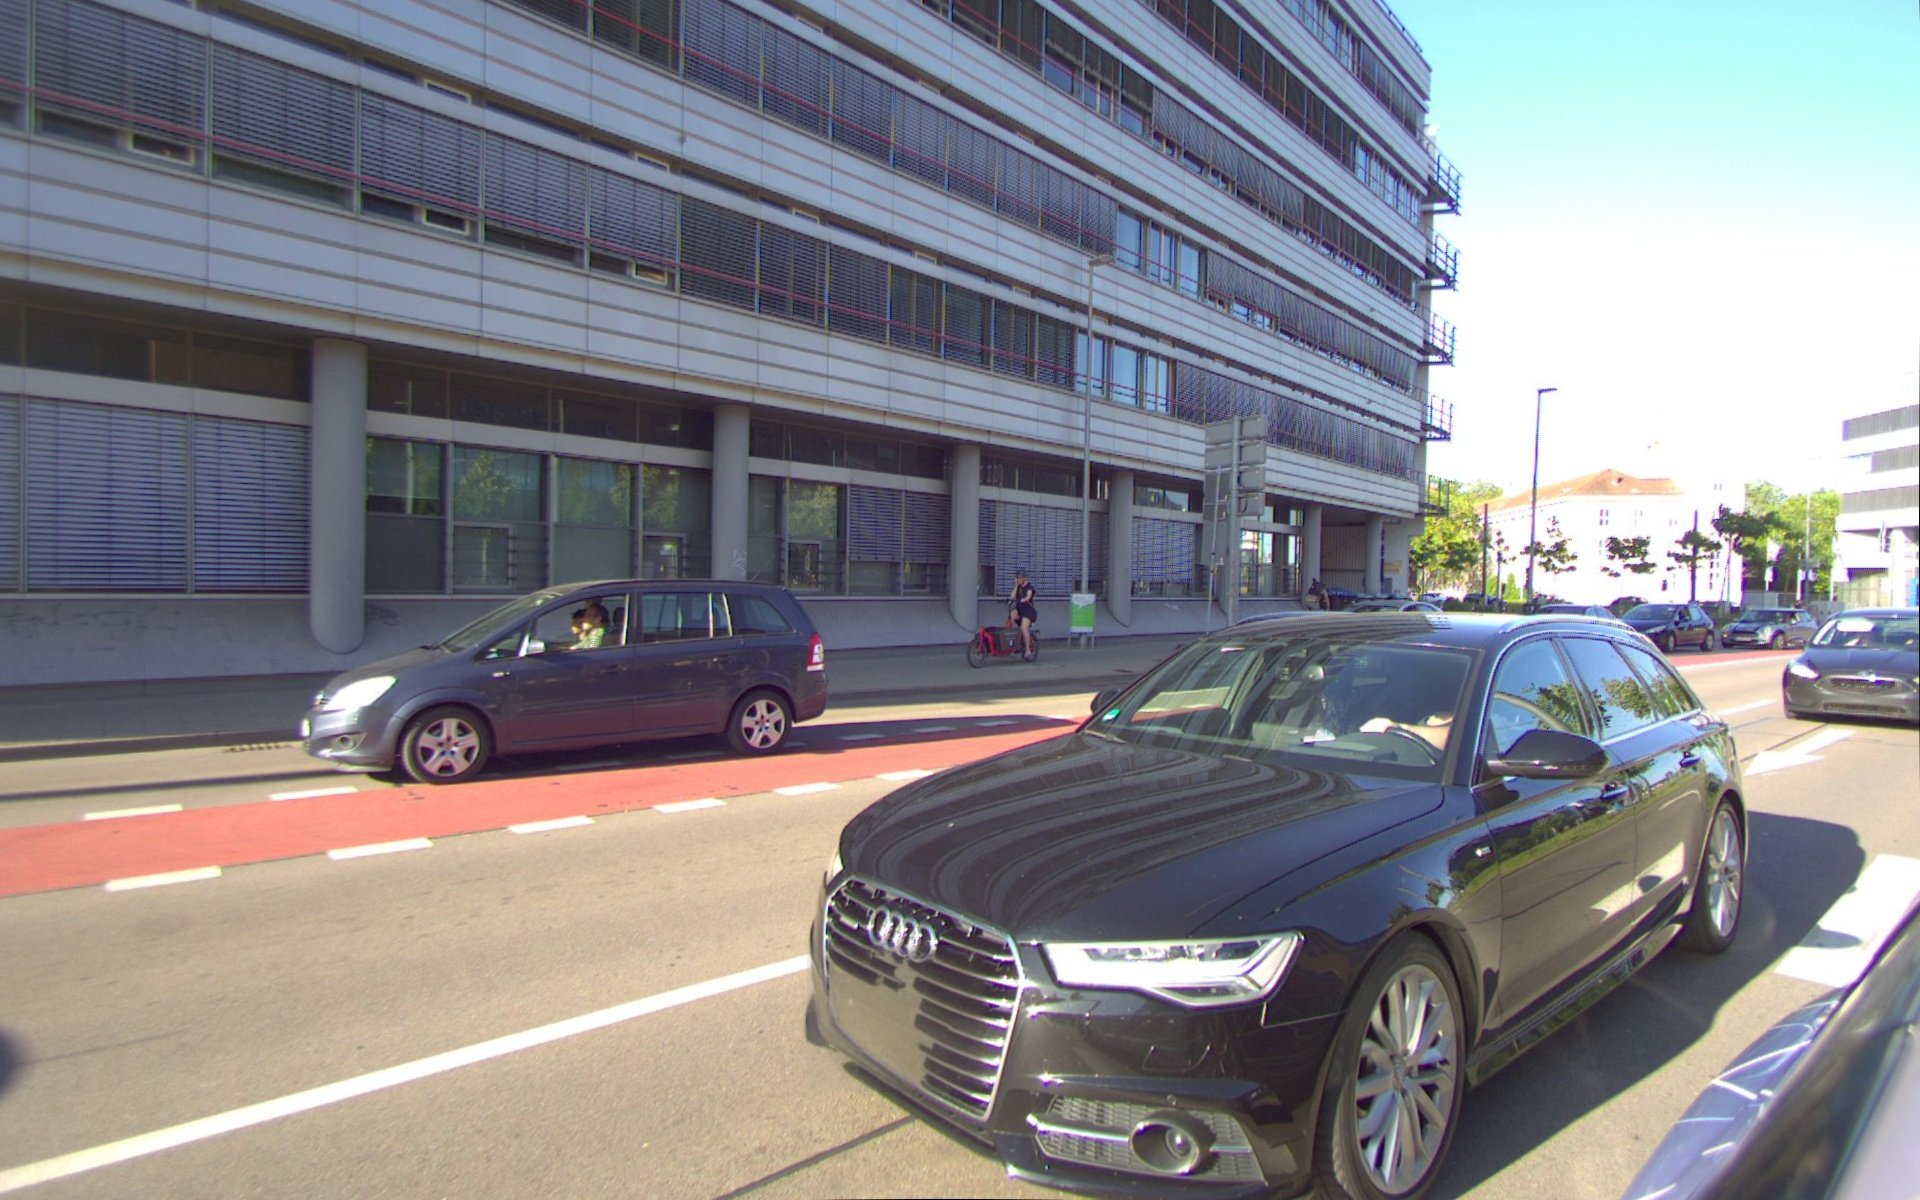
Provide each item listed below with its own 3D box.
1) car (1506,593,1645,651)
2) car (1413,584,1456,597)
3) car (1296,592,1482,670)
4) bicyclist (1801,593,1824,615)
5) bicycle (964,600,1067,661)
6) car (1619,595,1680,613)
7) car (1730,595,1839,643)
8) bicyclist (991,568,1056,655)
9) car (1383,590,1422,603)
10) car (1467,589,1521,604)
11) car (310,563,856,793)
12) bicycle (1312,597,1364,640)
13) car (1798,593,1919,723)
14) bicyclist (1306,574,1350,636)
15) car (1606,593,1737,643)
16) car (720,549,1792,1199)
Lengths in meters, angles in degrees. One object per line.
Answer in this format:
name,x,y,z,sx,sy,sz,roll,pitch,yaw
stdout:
car,16.560,0.588,27.181,4.032,1.459,1.716,1,-1,-35
car,51.221,-1.048,109.297,1.958,1.259,4.009,1,1,-16
car,9.081,0.582,21.269,4.408,1.449,1.755,0,2,-39
bicyclist,62.643,0.296,74.383,0.862,1.627,1.009,0,1,-28
bicycle,1.081,0.548,19.274,2.167,1.044,0.500,0,6,-40
car,59.960,0.342,88.088,1.958,1.440,4.009,0,1,-22
car,28.023,0.661,34.369,3.918,1.463,1.442,2,2,-29
bicyclist,1.217,0.207,19.373,1.023,1.585,0.627,0,4,-35
car,50.133,-0.445,114.675,1.894,1.393,4.009,1,1,-15
car,53.863,-0.388,102.165,1.958,1.440,4.535,0,1,-23
car,-3.280,0.532,9.216,4.378,1.649,1.694,0,1,-35
bicycle,10.228,0.482,27.365,1.672,1.070,0.505,-1,4,-40
car,12.470,0.661,13.274,4.082,1.451,1.688,-1,1,-42
bicyclist,9.943,0.131,27.368,0.973,1.638,0.685,0,1,-40
car,22.007,0.573,31.298,3.918,1.464,1.739,1,-2,-28
car,1.514,0.640,3.903,4.416,1.510,1.815,0,1,-40
